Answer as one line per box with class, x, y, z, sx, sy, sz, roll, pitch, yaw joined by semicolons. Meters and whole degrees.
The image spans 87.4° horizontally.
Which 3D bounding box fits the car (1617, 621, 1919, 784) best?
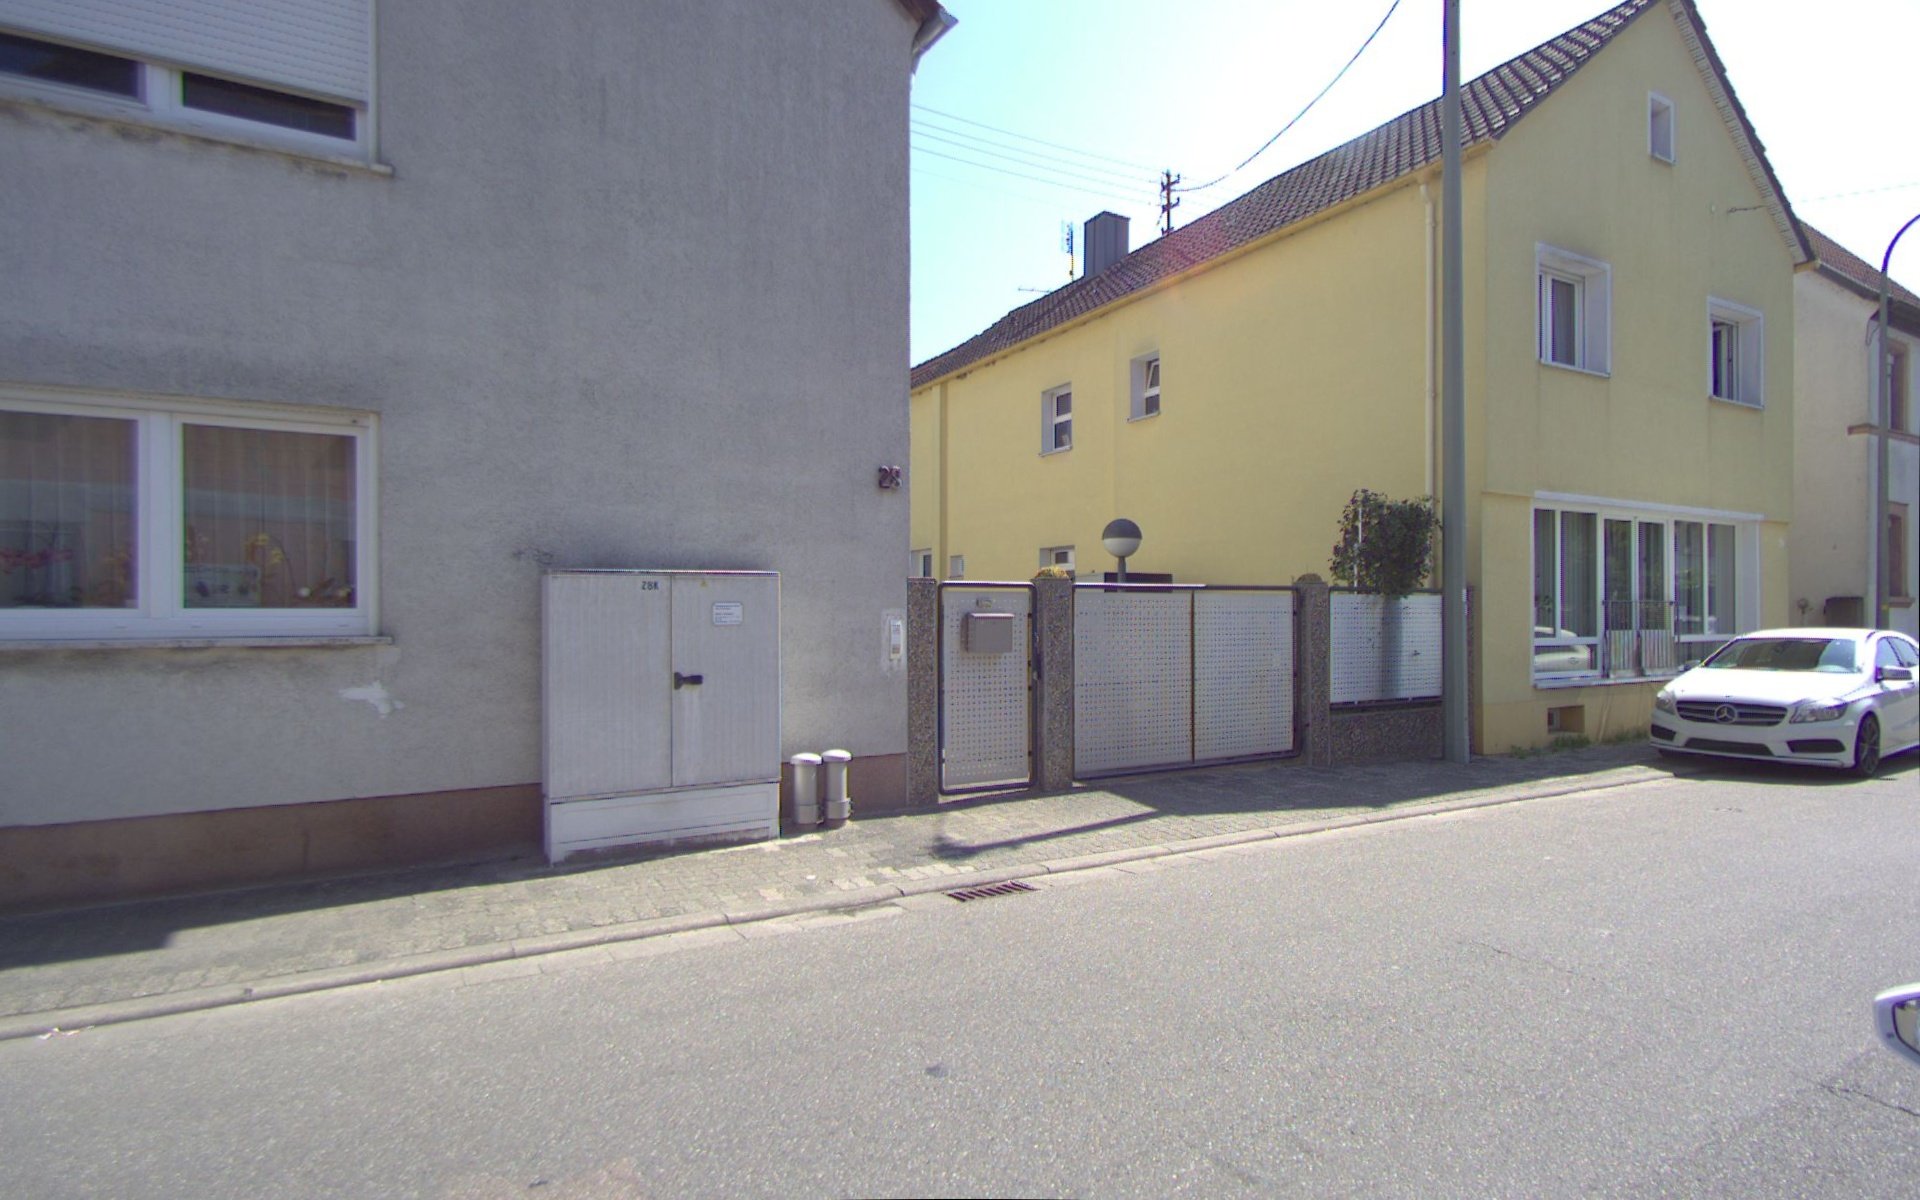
car;9.299;0.988;11.155;4.225;1.483;1.824;1;-2;-34
